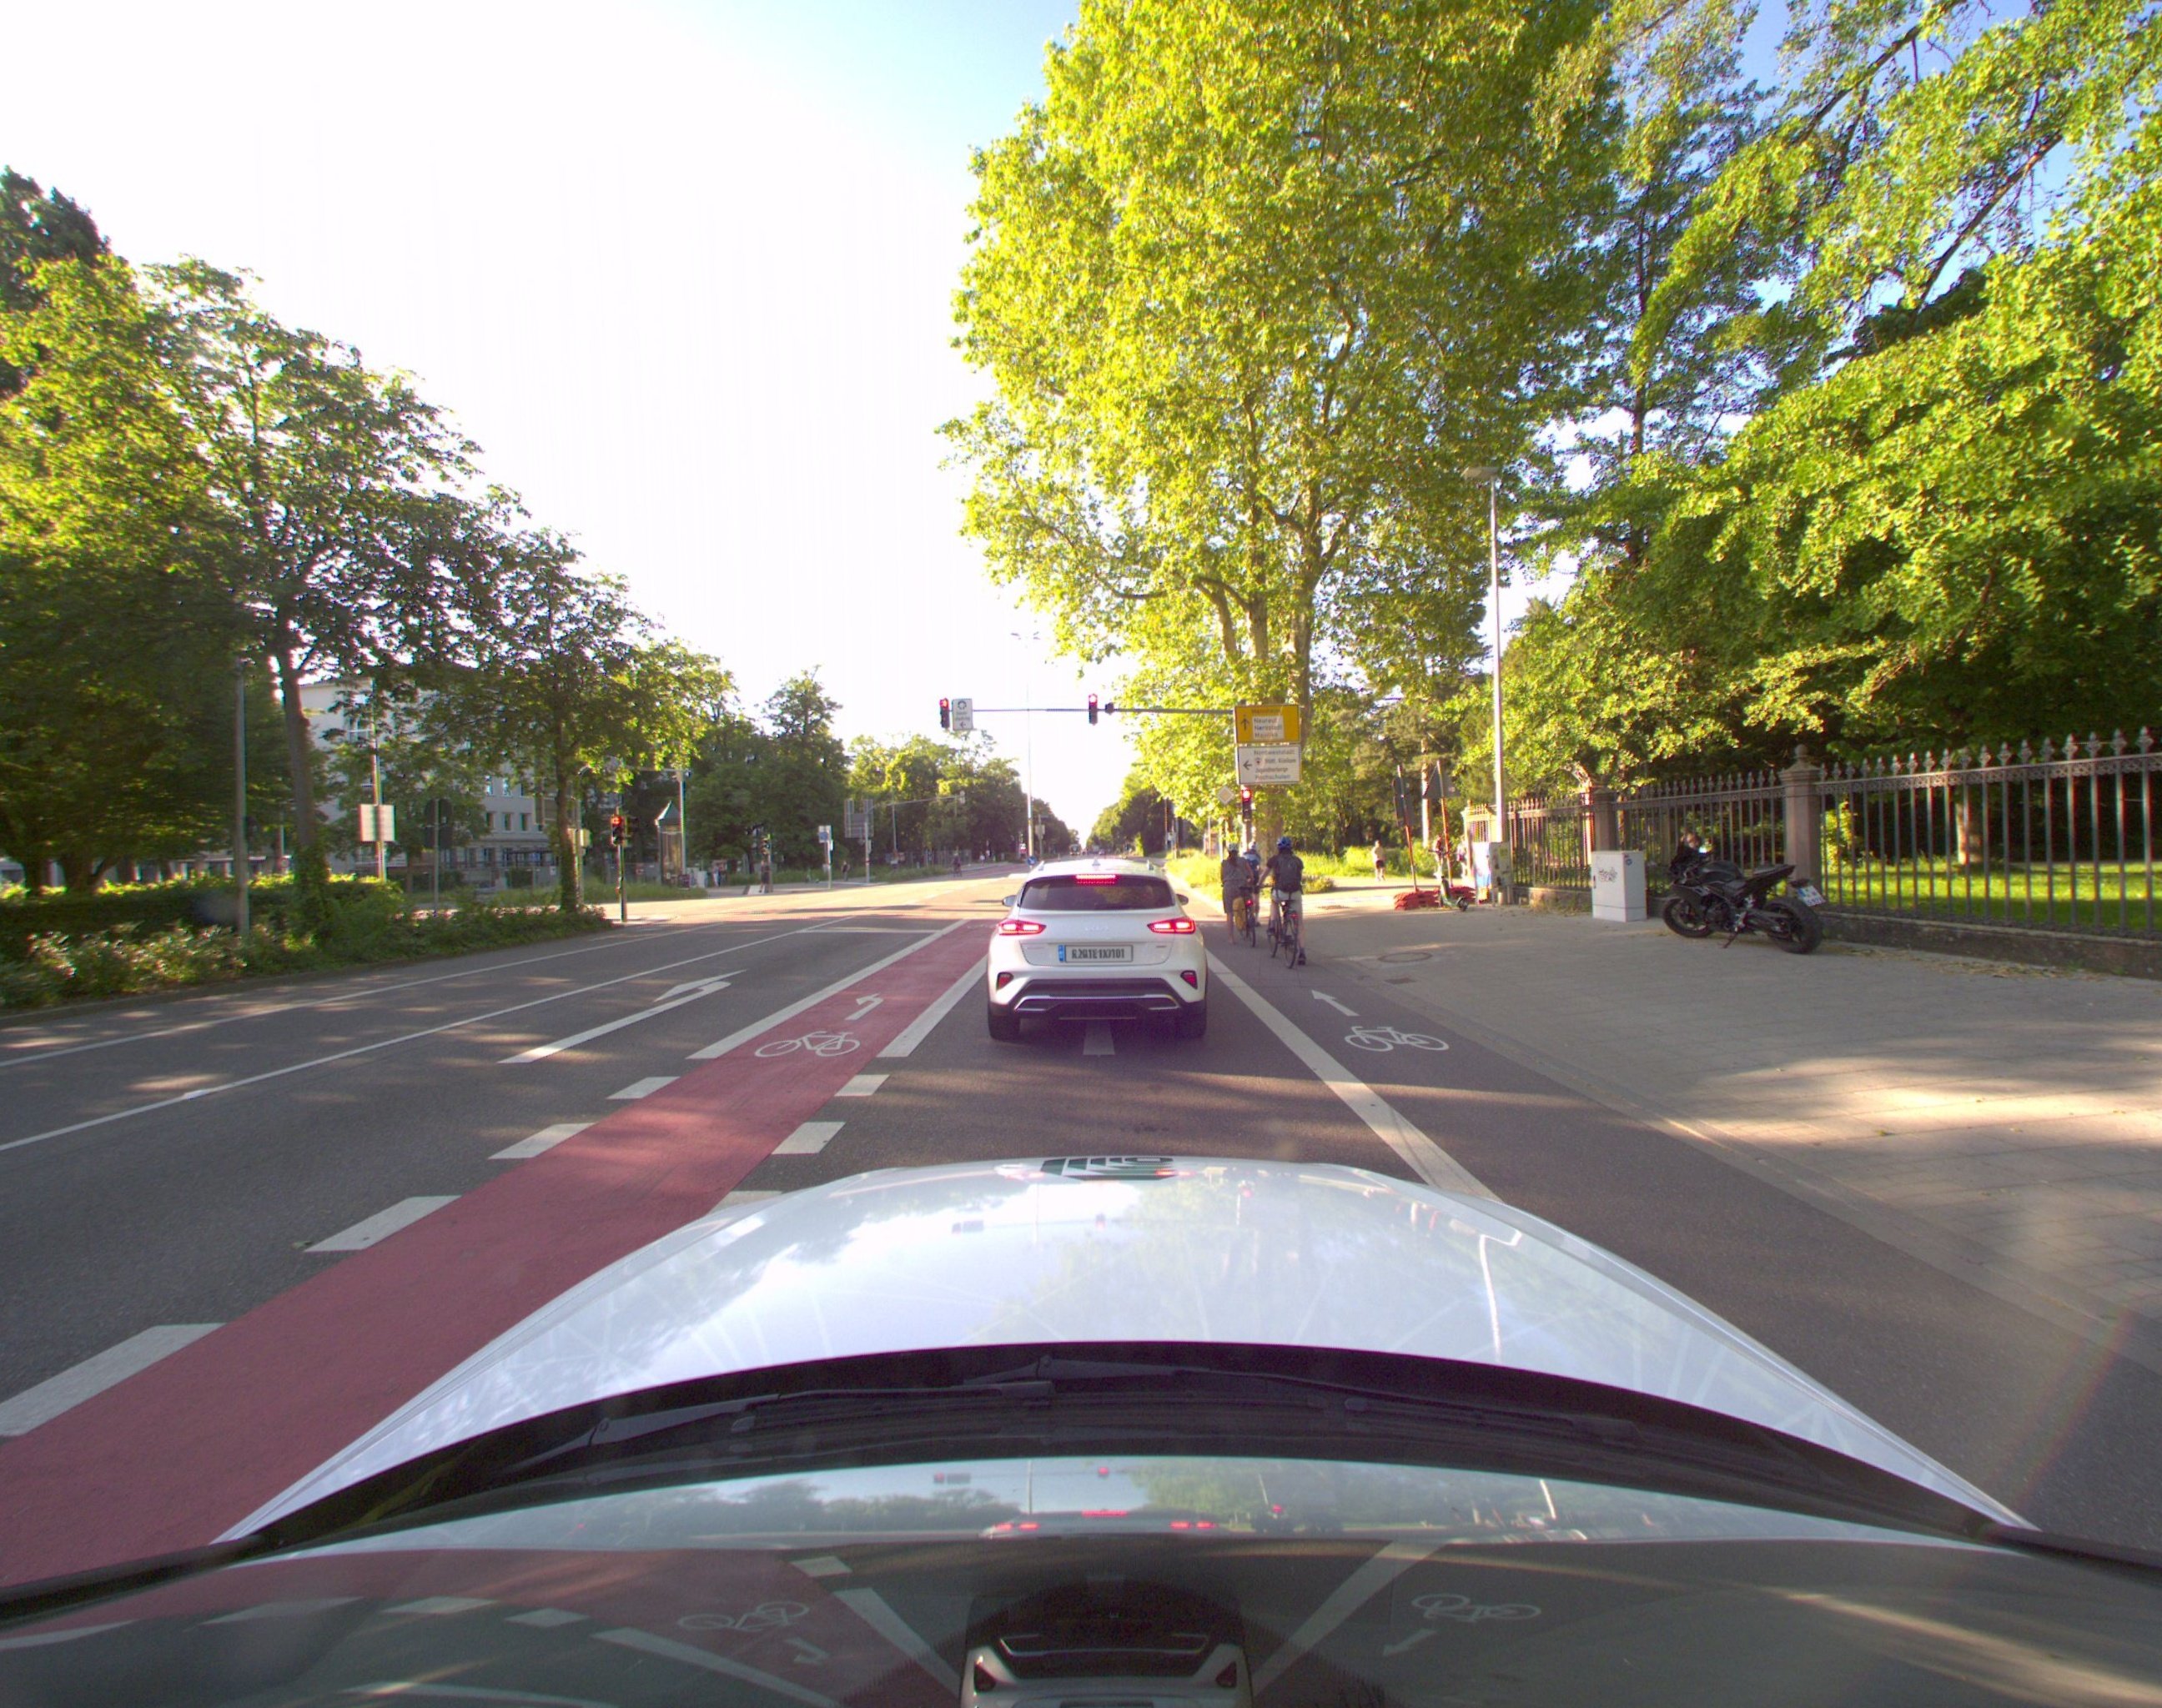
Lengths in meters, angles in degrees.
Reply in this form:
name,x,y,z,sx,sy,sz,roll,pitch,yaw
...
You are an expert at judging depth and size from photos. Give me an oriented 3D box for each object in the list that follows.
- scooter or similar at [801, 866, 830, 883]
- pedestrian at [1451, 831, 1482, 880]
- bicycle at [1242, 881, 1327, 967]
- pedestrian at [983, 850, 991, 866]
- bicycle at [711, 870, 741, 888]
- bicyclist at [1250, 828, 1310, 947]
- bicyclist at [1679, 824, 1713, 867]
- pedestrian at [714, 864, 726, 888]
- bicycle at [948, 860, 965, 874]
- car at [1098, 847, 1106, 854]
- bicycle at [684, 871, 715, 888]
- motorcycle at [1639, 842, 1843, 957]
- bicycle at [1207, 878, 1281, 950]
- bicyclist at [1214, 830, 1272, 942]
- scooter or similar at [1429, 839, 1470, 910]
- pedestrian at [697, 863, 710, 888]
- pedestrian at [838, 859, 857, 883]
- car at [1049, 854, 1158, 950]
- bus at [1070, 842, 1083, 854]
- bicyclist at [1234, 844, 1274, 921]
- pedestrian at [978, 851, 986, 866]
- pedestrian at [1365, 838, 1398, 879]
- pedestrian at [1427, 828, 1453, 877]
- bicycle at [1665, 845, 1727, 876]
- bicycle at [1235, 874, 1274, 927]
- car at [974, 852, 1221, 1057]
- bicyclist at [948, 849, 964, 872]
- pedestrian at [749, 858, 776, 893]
name,x,y,z,sx,sy,sz,roll,pitch,yaw
scooter or similar,-18.611,1.428,57.152,0.703,1.124,1.933,-1,0,34
pedestrian,13.670,0.048,28.880,0.688,1.699,0.643,-3,0,-5
bicycle,2.780,0.918,11.337,0.666,1.009,2.081,-1,0,0
pedestrian,-12.199,0.484,105.712,0.636,2.014,0.756,-1,-1,17
bicycle,-23.879,1.673,54.778,1.859,1.148,0.290,-1,-1,-6
bicyclist,2.775,0.453,11.397,0.663,1.602,0.721,-1,0,0
bicyclist,20.928,-0.291,27.709,0.775,1.431,0.670,-1,-1,25
pedestrian,-24.096,1.487,54.387,0.628,1.580,0.444,-1,-1,-8
bicycle,-9.314,0.982,61.087,0.660,0.989,2.507,-3,0,4
car,6.047,-1.009,237.368,1.989,2.013,3.996,-3,0,-3
bicycle,-25.788,1.719,55.065,1.859,1.148,0.442,-1,-1,-6
motorcycle,7.378,0.460,9.275,0.504,1.131,2.170,-4,0,0
bicycle,2.686,0.948,13.710,0.755,1.013,2.569,0,0,0
bicyclist,2.684,0.506,13.586,0.750,1.795,1.165,0,0,0
scooter or similar,7.208,0.389,15.952,0.227,1.327,1.172,-3,0,0
pedestrian,-25.395,1.465,54.774,0.628,1.642,0.444,-1,-1,-8
pedestrian,-16.675,1.196,58.215,1.086,1.603,0.999,-3,0,-5
car,0.380,0.777,15.098,1.723,1.483,3.516,-3,0,0
bus,-1.388,-1.803,259.460,3.732,3.673,13.230,-2,0,-2
bicyclist,3.515,0.572,16.562,0.552,1.478,0.717,-5,-1,0
pedestrian,-12.350,0.535,101.656,0.782,1.785,0.751,-1,-1,2
pedestrian,11.264,0.171,30.580,0.817,1.518,0.914,-1,-1,-8
pedestrian,13.529,-0.059,30.673,0.822,1.771,0.825,-3,0,25
bicycle,20.913,0.230,27.732,1.601,1.015,0.478,-1,-1,27
bicycle,3.521,0.923,16.586,0.400,0.956,1.551,-5,0,0
car,0.143,0.750,8.074,1.815,1.480,3.936,-1,0,0
bicyclist,-9.339,0.481,61.083,0.871,1.608,1.189,-3,0,4
pedestrian,-18.690,1.233,47.850,0.990,2.014,1.193,-1,-1,7
